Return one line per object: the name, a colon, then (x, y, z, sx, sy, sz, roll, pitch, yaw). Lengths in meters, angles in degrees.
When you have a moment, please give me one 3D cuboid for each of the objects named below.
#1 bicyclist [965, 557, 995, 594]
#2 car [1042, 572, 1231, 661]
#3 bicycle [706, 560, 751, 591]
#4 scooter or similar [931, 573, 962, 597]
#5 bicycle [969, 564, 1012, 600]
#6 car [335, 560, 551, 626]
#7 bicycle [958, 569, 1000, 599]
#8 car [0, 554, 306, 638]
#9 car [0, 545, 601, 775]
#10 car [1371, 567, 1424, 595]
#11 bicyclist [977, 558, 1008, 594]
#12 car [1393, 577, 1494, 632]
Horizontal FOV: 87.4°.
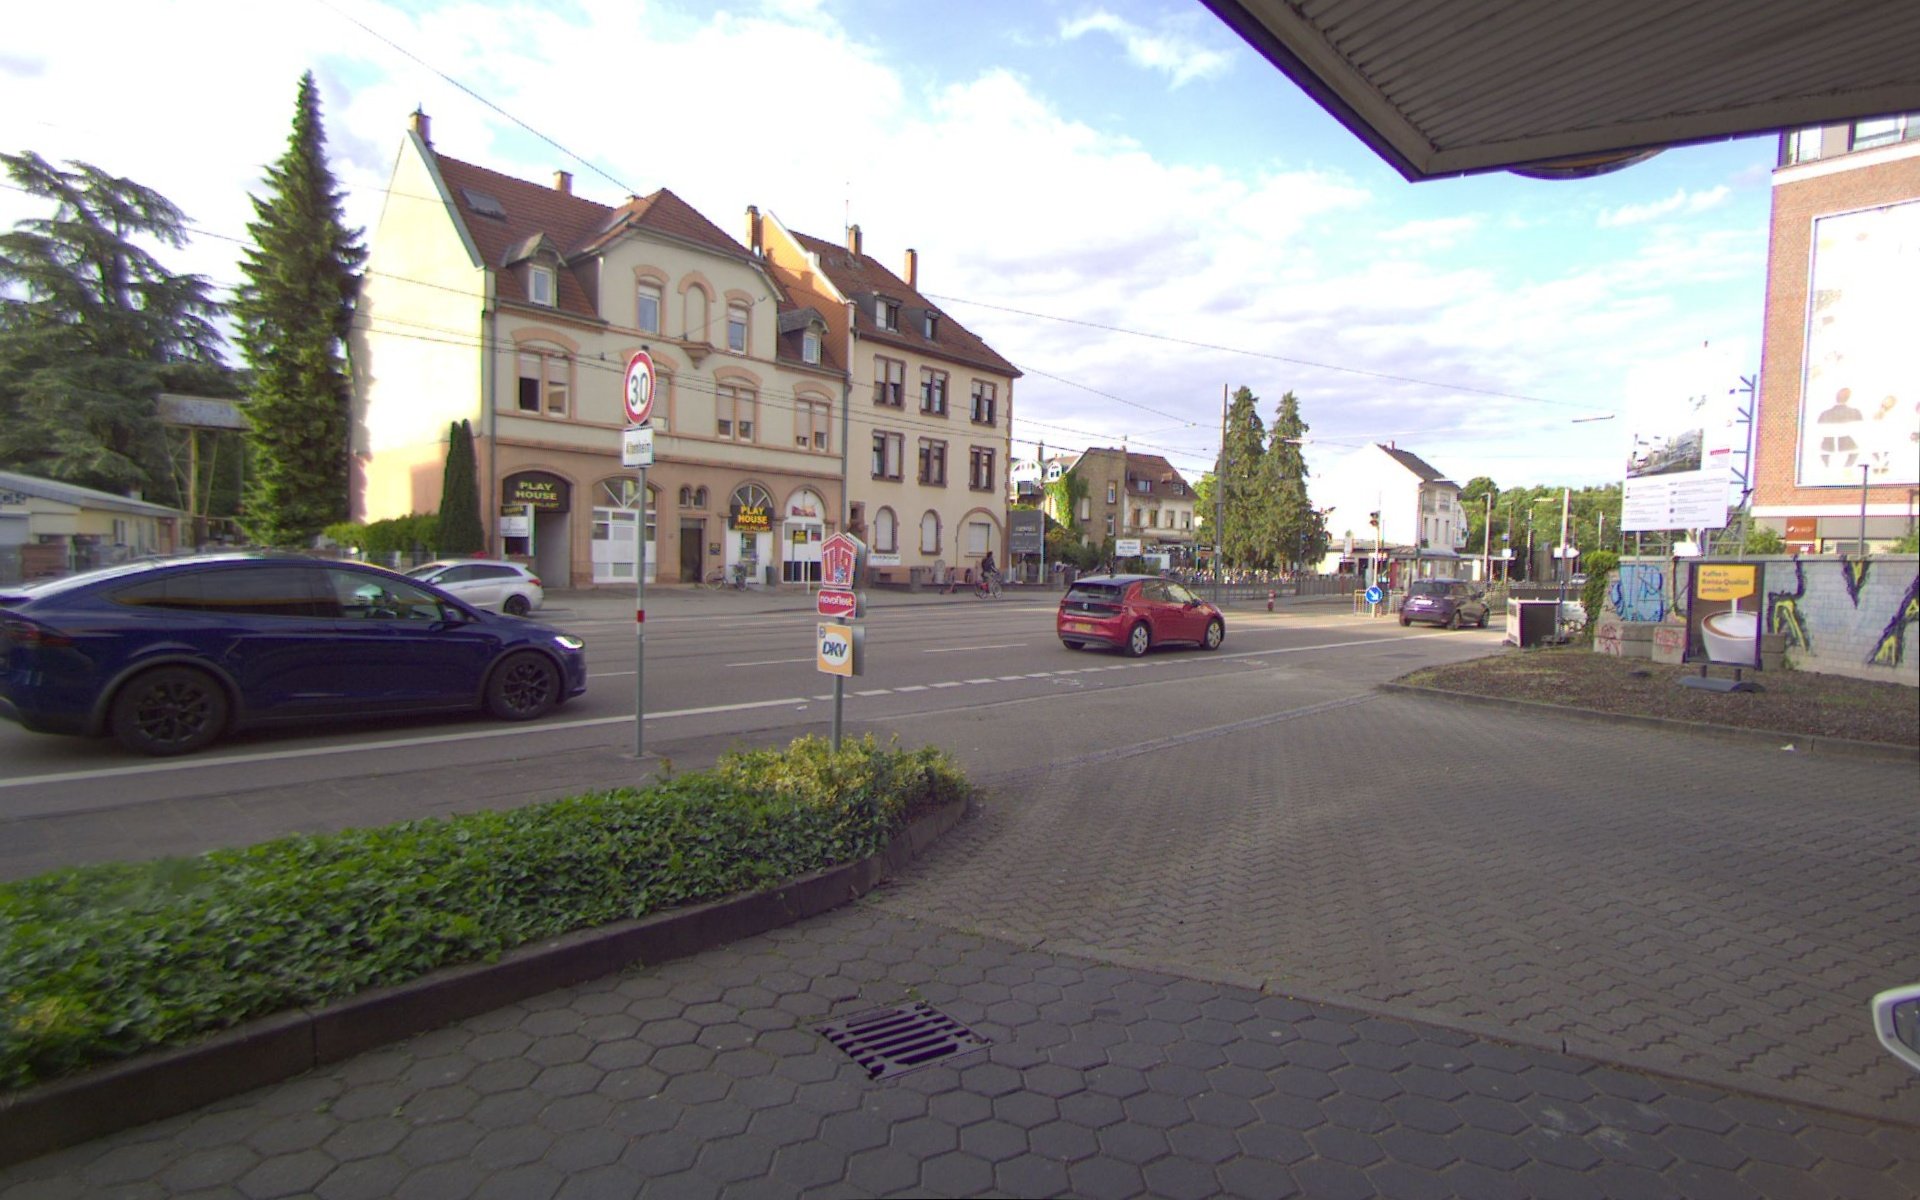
bicyclist: (0.901, -1.095, 45.202, 0.833, 1.579, 0.960, 8, 6, 39)
car: (3.701, 0.282, 20.638, 1.746, 1.564, 4.104, 5, 4, 45)
bicycle: (-9.140, -0.958, 39.713, 0.508, 1.189, 1.809, 4, 2, 40)
scooter or similar: (-0.595, -0.696, 45.140, 0.488, 1.015, 1.592, 5, 5, 39)
bicycle: (1.357, -0.812, 44.270, 0.777, 1.512, 1.981, 6, 5, 41)
car: (-12.997, -0.247, 25.468, 1.970, 1.495, 4.467, 3, 3, 40)
bicycle: (0.862, -0.731, 45.233, 0.833, 1.219, 1.897, 8, 6, 38)
car: (-16.565, -0.148, 20.736, 1.970, 1.516, 4.801, 3, 3, 40)
car: (-6.201, 0.398, 9.807, 1.744, 1.679, 4.824, 5, 4, 42)
car: (31.523, -1.379, 72.312, 1.942, 1.915, 4.383, 4, 3, 45)
bicyclist: (1.419, -1.046, 44.309, 0.777, 1.512, 1.090, 6, 5, 41)
car: (15.527, 0.084, 32.167, 1.707, 1.564, 3.976, 5, 4, 43)
